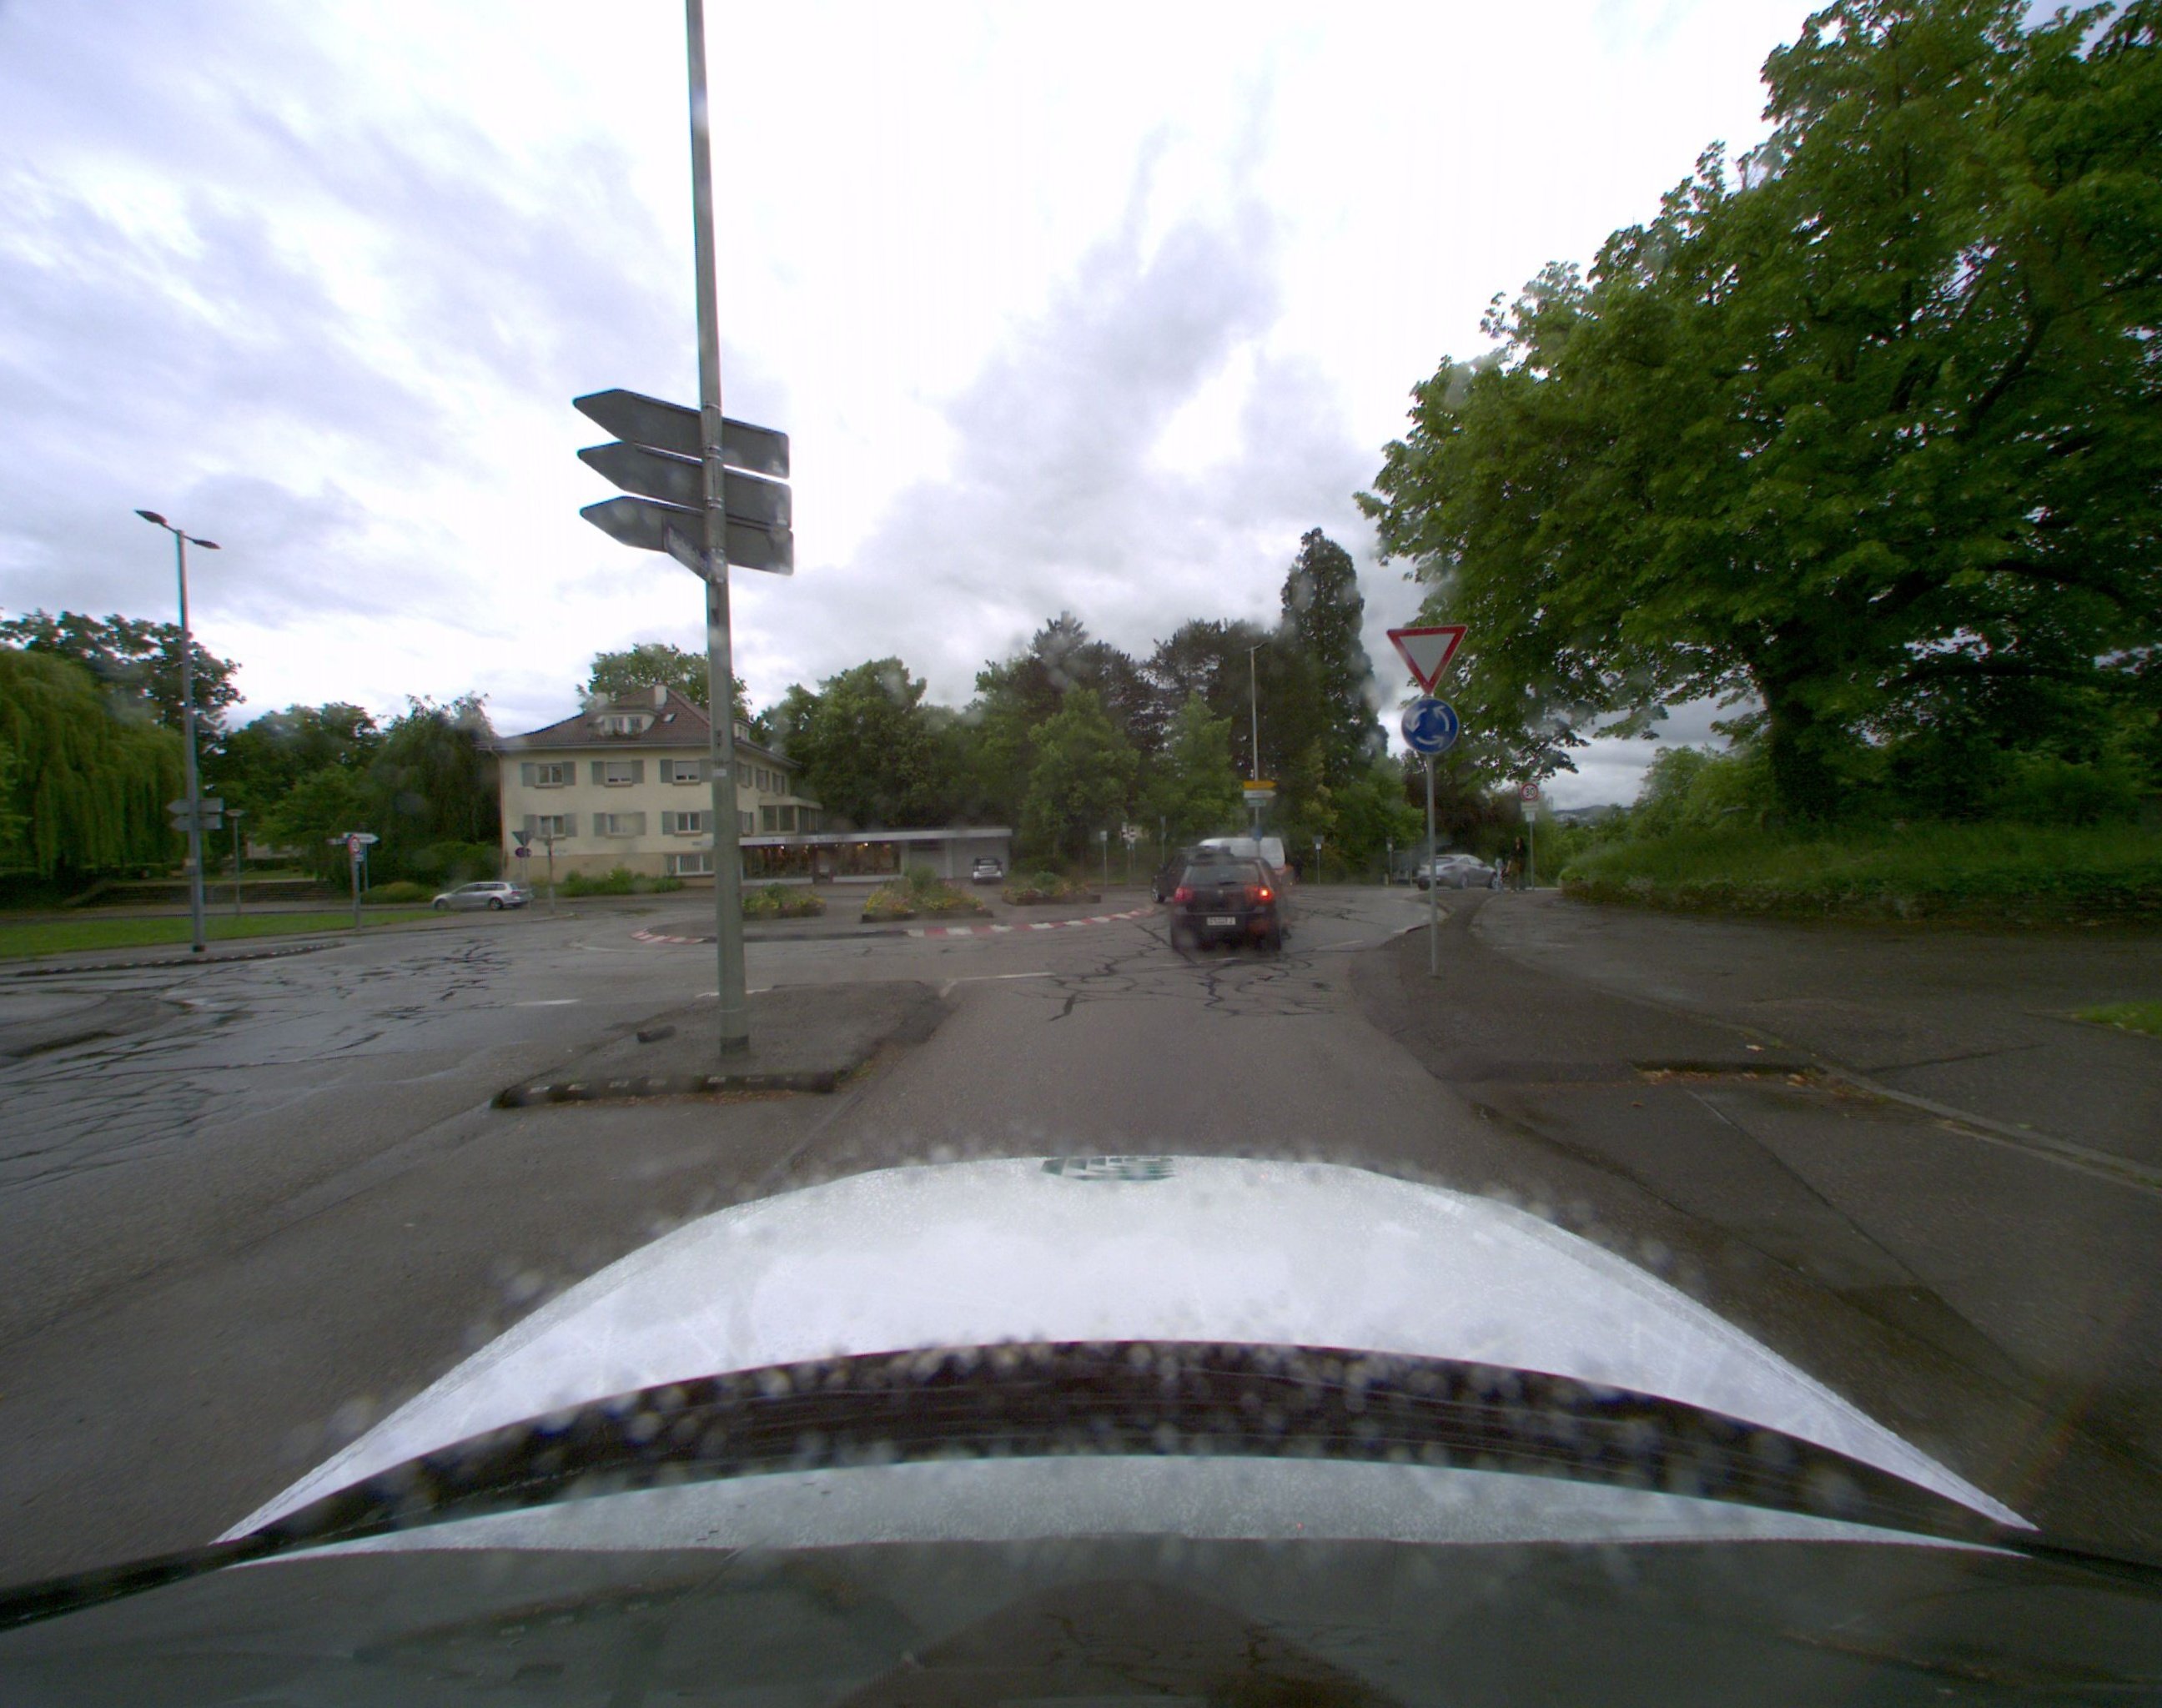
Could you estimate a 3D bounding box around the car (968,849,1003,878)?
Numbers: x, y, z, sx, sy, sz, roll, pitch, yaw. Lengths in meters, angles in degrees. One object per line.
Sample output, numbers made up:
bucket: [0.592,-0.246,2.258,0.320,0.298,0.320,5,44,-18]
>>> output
car: [-5.473,0.537,46.715,1.811,1.486,3.822,-3,0,-7]

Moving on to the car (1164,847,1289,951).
car: [2.671,0.665,14.206,1.751,1.538,4.017,-1,0,16]

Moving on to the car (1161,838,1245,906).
car: [3.605,0.523,24.828,1.760,1.801,4.243,-3,-1,-1]

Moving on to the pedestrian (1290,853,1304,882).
pedestrian: [13.014,0.840,49.017,0.731,1.725,0.821,-1,-1,21]

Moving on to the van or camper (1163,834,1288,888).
van or camper: [6.813,0.303,38.225,5.684,2.378,2.181,0,-1,-29]

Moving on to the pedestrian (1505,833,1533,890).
pedestrian: [13.473,0.231,25.071,0.629,1.713,0.532,-1,-1,16]

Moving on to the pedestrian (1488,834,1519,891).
pedestrian: [12.736,0.258,24.567,0.529,1.713,0.633,0,-1,-15]

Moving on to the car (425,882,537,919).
car: [-30.276,2.330,41.202,4.120,1.741,1.998,0,-1,-3]

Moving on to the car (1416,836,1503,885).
car: [15.508,0.235,33.303,4.271,1.801,1.748,-2,-1,-44]
